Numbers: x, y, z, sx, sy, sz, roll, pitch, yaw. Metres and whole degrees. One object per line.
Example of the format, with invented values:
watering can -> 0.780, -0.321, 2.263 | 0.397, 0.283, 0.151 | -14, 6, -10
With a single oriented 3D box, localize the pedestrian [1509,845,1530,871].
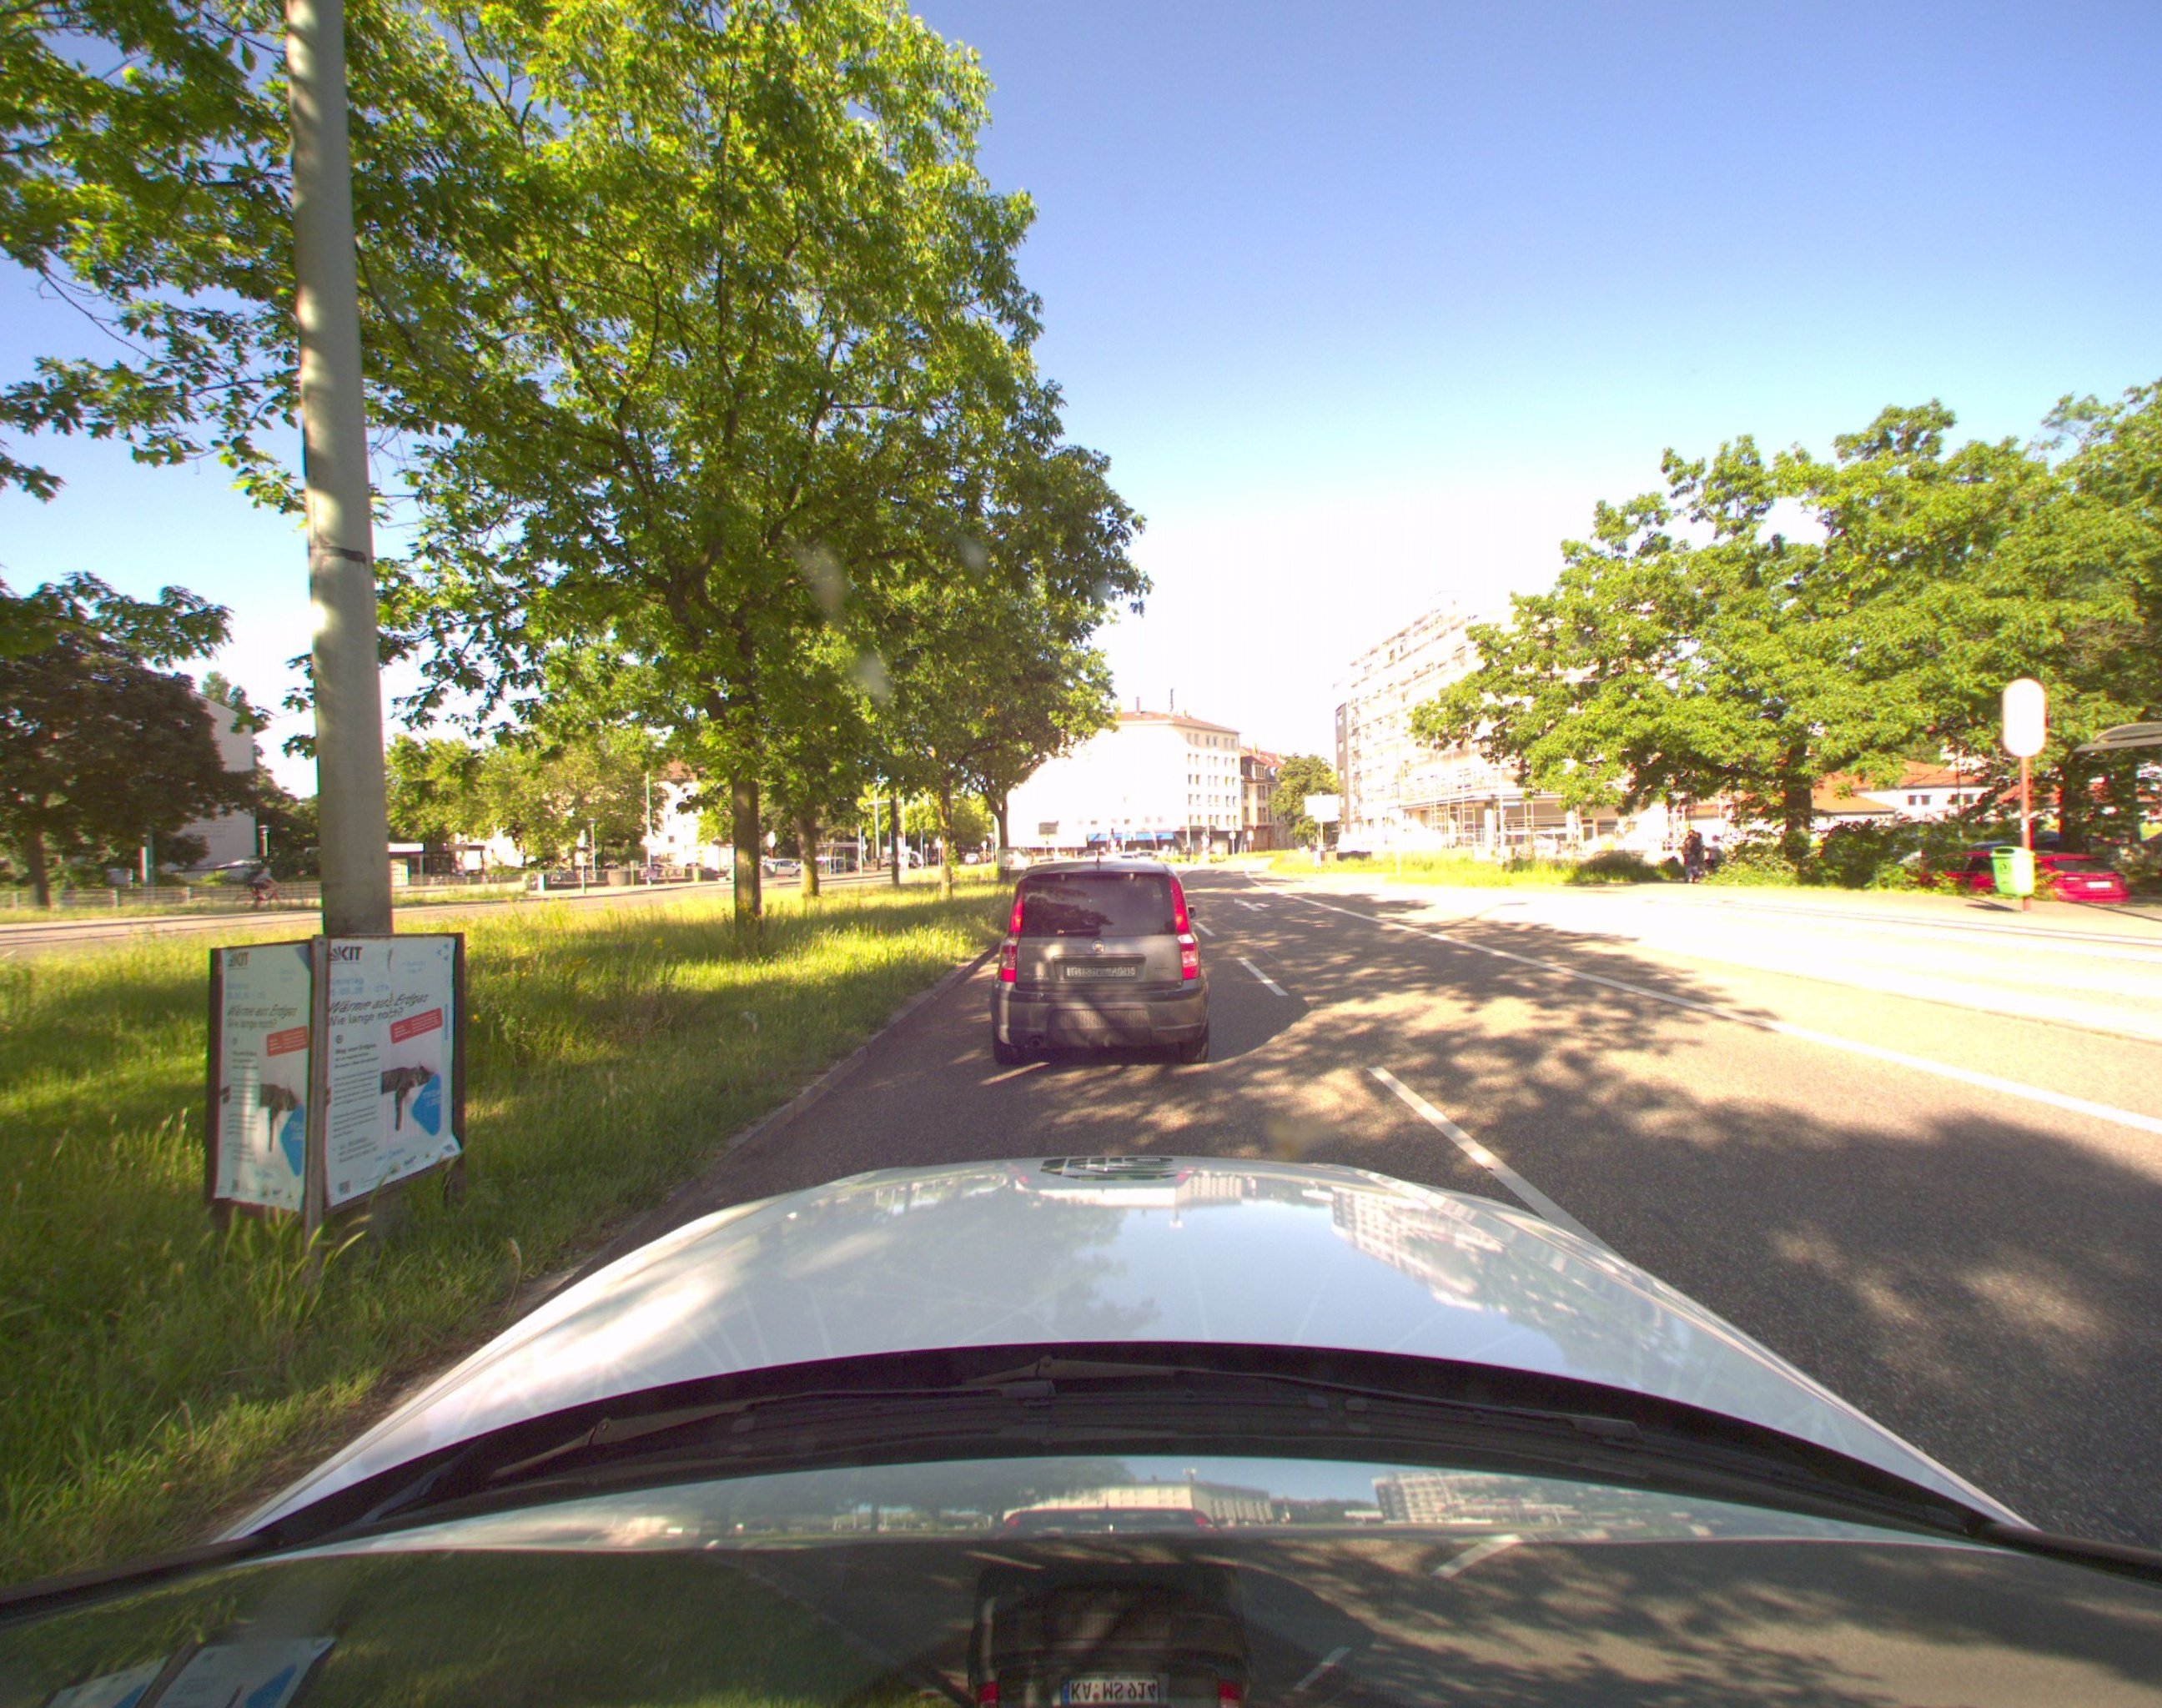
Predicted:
pedestrian -> 25.807, 0.238, 47.913 | 0.649, 1.497, 0.907 | -2, 0, -6

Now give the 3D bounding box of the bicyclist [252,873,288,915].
bicyclist -> -30.496, 1.486, 30.638 | 0.608, 1.530, 0.678 | -1, 1, 11

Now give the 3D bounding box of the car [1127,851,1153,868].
car -> 4.648, 0.377, 64.004 | 1.984, 1.243, 4.005 | -1, 0, 5

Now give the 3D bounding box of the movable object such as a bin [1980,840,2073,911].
movable object such as a bin -> 14.362, 0.316, 12.381 | 0.724, 1.030, 0.578 | -2, 0, 1

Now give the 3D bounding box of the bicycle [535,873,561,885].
bicycle -> -43.071, 2.001, 65.809 | 1.695, 0.839, 0.541 | -2, 0, -41

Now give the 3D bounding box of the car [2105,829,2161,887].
car -> 29.542, 0.167, 20.334 | 1.984, 1.537, 4.897 | 0, 2, 5

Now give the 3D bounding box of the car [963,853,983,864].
car -> -14.411, 0.605, 108.711 | 1.986, 1.310, 4.002 | -2, 0, 2

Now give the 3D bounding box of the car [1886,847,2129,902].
car -> 21.863, 0.428, 19.472 | 1.392, 1.154, 3.912 | -2, 0, 1

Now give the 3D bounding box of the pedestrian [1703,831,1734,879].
pedestrian -> 20.873, 0.035, 26.664 | 0.525, 1.518, 0.614 | -2, 0, 4

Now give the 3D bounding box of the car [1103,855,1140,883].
car -> 2.032, 0.717, 40.230 | 1.683, 1.253, 3.630 | -2, 0, 4

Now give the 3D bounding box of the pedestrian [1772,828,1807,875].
pedestrian -> 24.777, -0.085, 28.481 | 0.701, 1.619, 0.566 | 0, -1, -4

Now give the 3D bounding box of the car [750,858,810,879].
car -> -26.535, 1.248, 71.869 | 1.849, 1.544, 4.576 | 2, 3, 45

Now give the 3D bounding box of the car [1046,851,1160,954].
car -> 0.384, 0.698, 13.707 | 1.615, 1.429, 3.690 | -2, 0, 2

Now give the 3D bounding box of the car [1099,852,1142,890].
car -> 1.675, 0.685, 33.893 | 1.639, 1.438, 3.399 | -2, 0, 3

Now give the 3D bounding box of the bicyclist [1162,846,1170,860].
bicyclist -> 8.111, -0.094, 77.837 | 0.531, 1.357, 0.594 | -2, 0, -17

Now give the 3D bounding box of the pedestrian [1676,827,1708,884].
pedestrian -> 18.598, 0.035, 24.795 | 0.600, 1.700, 0.410 | -2, 0, 1

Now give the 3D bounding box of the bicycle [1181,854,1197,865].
bicycle -> 9.450, 0.449, 71.325 | 0.783, 0.951, 1.849 | 0, -1, -11

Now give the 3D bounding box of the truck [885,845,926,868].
truck -> -19.592, 0.225, 90.869 | 4.084, 2.426, 1.793 | -2, 0, -1

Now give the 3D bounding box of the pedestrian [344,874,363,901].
pedestrian -> -49.800, 2.290, 55.744 | 0.553, 1.829, 0.731 | -2, 0, 23

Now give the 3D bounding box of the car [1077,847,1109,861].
car -> 1.284, 0.012, 86.751 | 1.669, 1.501, 3.556 | -2, 0, -33

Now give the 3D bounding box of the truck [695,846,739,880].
truck -> -33.328, 0.832, 74.527 | 4.768, 2.994, 2.012 | -1, 1, 44

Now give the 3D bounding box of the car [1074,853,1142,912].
car -> 0.748, 0.742, 23.728 | 1.754, 1.486, 4.294 | -2, 0, 1

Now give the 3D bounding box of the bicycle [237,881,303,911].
bicycle -> -30.488, 1.578, 30.649 | 0.608, 1.001, 1.664 | -2, 0, 12

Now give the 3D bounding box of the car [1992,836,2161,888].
car -> 33.660, 0.263, 27.285 | 1.984, 1.607, 4.006 | 0, -1, 5

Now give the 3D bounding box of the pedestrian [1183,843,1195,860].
pedestrian -> 9.443, -0.196, 71.370 | 0.774, 1.427, 0.935 | 0, -1, -12

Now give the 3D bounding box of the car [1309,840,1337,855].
car -> 27.953, -0.751, 94.036 | 1.802, 1.508, 4.026 | -2, 1, 35

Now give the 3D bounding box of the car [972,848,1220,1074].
car -> 0.200, 0.725, 7.201 | 1.653, 1.510, 3.254 | -2, 0, 3

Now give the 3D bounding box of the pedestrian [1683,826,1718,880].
pedestrian -> 19.191, -0.028, 25.239 | 0.619, 1.634, 0.552 | -2, 0, 2

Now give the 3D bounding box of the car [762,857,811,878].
car -> -27.112, 1.198, 75.099 | 1.741, 1.717, 4.025 | 2, 3, 29

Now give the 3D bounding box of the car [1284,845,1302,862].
car -> 26.633, -0.077, 102.151 | 1.977, 2.014, 4.019 | -1, -1, 18

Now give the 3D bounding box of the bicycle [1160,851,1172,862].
bicycle -> 8.111, 0.229, 77.850 | 0.531, 1.090, 1.576 | -2, 0, -16

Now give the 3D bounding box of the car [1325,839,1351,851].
car -> 37.912, -1.337, 120.326 | 1.905, 1.593, 3.985 | -2, 0, -11

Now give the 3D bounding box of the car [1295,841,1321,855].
car -> 25.087, -0.620, 89.973 | 1.757, 1.442, 3.642 | -1, 1, 34
